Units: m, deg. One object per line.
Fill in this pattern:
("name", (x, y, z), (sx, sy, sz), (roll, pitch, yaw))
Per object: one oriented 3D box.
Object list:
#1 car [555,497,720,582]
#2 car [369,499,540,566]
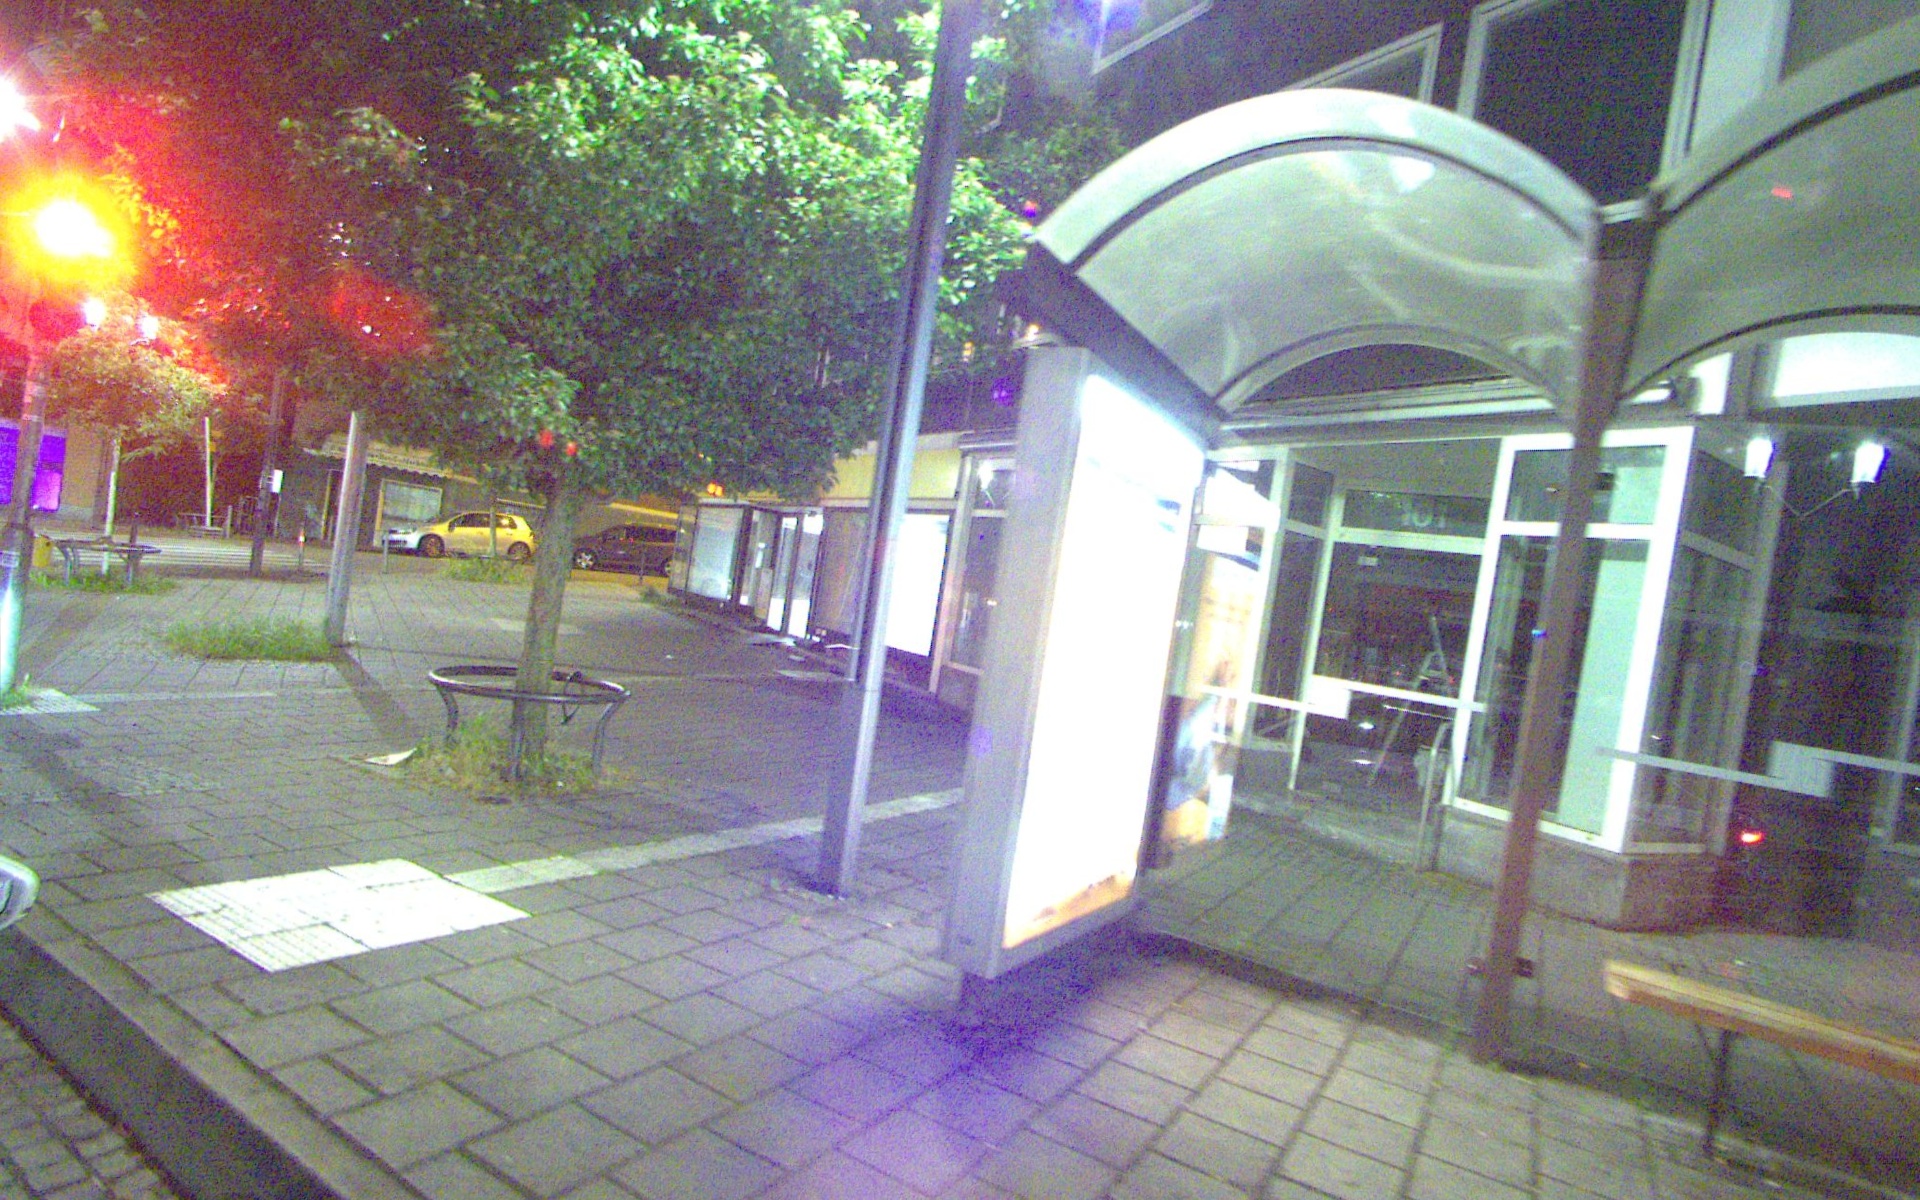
("car", (-10.416, -1.893, 32.575), (4.779, 1.932, 2.150), (8, -2, -21))
("car", (-14.713, -1.936, 29.430), (1.798, 1.472, 4.036), (8, 2, 38))
